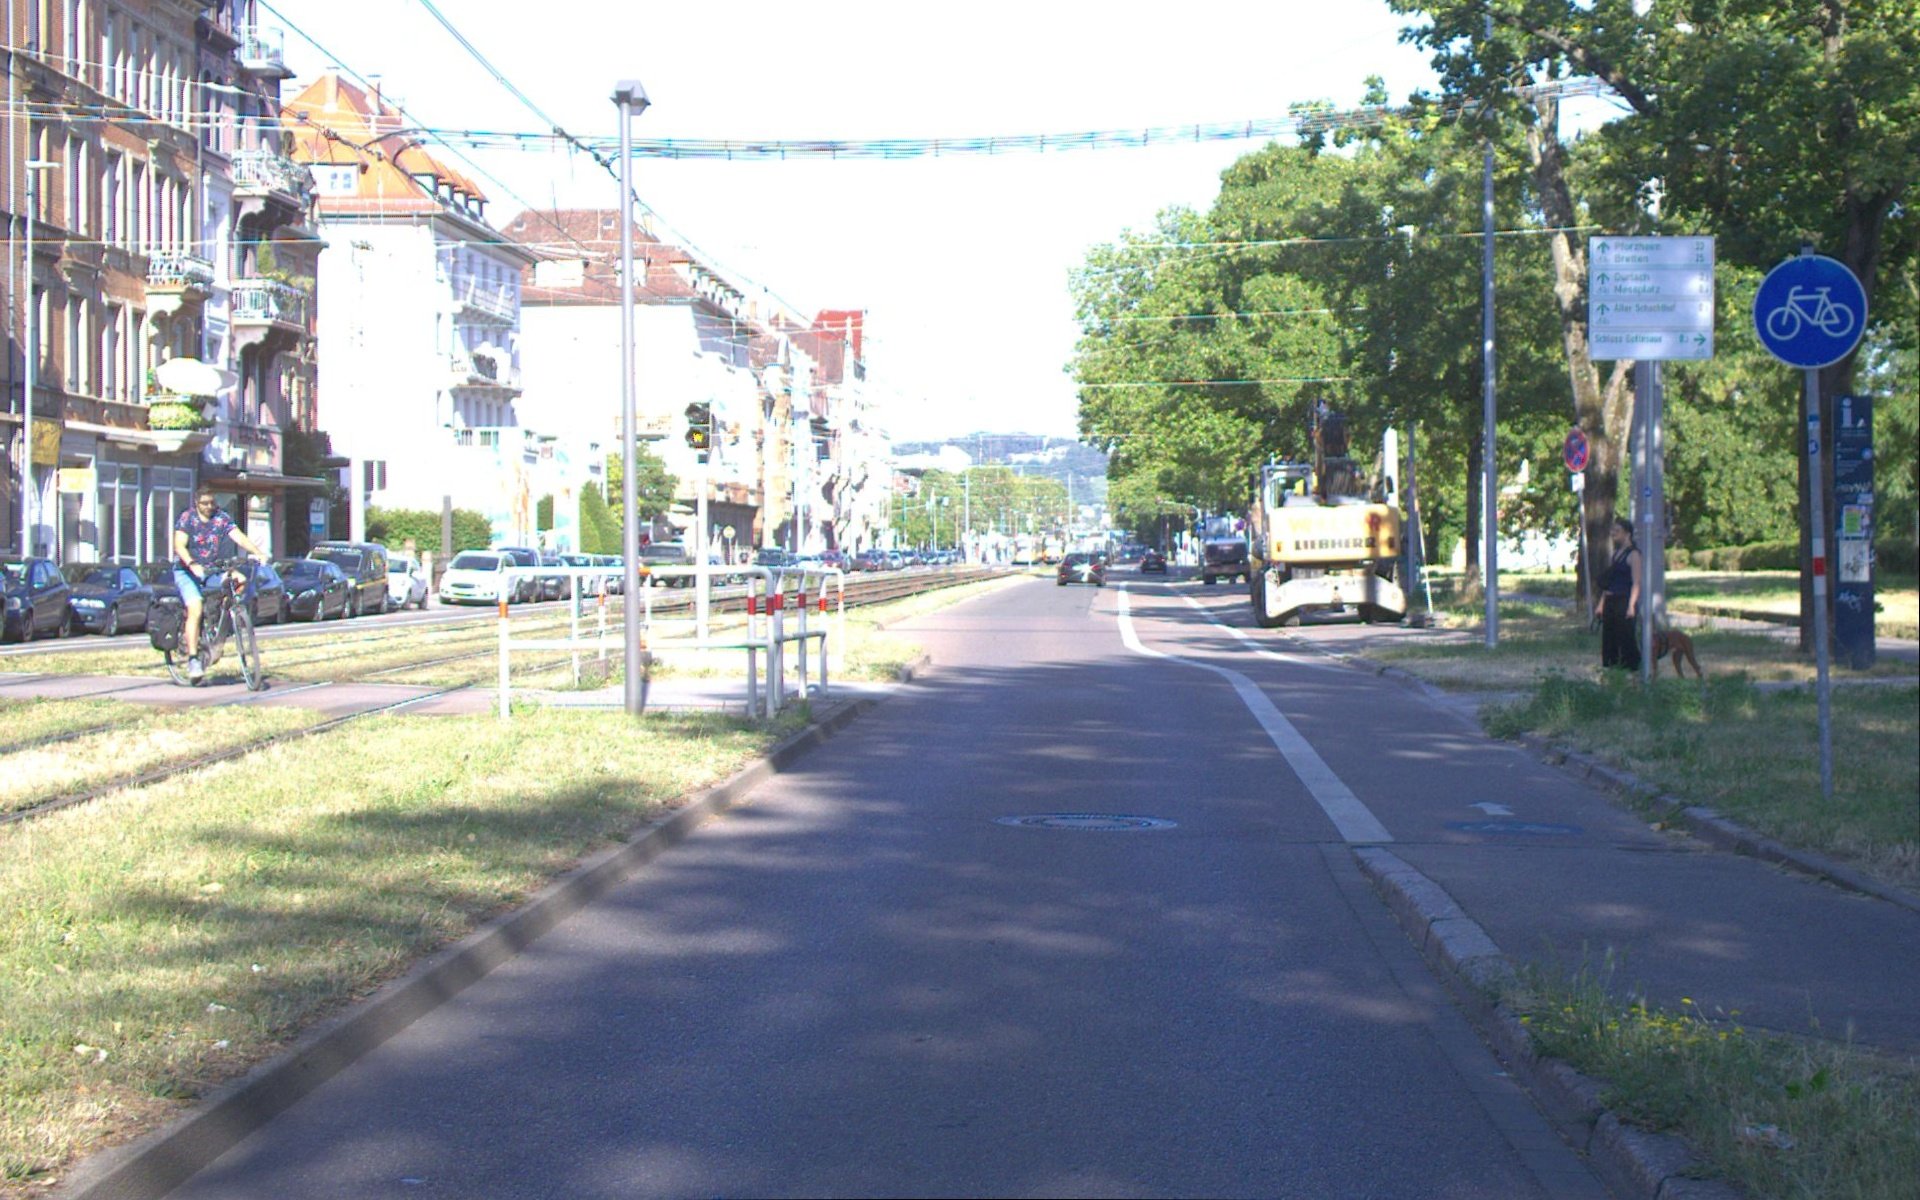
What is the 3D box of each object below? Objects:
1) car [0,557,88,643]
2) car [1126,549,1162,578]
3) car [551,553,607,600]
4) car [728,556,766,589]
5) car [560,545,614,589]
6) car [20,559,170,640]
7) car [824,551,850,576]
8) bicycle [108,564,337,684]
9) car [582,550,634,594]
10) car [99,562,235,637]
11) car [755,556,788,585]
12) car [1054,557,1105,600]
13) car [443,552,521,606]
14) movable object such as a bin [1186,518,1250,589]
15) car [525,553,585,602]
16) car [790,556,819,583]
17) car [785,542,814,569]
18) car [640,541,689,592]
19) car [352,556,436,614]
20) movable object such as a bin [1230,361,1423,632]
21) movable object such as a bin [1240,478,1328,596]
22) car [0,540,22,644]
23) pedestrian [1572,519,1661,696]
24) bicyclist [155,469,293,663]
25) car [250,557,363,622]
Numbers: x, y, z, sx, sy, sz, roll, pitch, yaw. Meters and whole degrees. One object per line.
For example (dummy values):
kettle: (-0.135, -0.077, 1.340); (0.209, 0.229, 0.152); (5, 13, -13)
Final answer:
car: (-17.191, -0.027, 62.217); (1.775, 1.461, 3.531); (2, 1, 2)
car: (12.667, -2.524, 236.853); (1.993, 1.853, 4.001); (2, 1, -4)
car: (-13.778, -0.868, 124.491); (1.527, 1.555, 3.223); (2, 2, 2)
car: (-10.742, -1.394, 173.347); (1.527, 1.555, 3.223); (2, 2, 2)
car: (-13.916, -1.239, 128.448); (1.527, 1.555, 3.223); (2, 2, 2)
car: (-16.855, -0.036, 67.171); (1.776, 1.401, 3.909); (2, 2, 2)
car: (-8.538, -2.539, 239.134); (1.527, 1.605, 3.223); (2, 2, 2)
bicycle: (-6.626, 0.204, 30.879); (1.956, 1.037, 0.765); (0, 1, 26)
car: (-13.634, -1.098, 133.390); (1.527, 1.555, 3.223); (2, 2, 2)
car: (-16.584, -0.032, 72.057); (1.776, 1.401, 3.909); (2, 2, 2)
car: (-10.752, -1.694, 196.166); (1.527, 1.555, 3.223); (2, 2, 2)
car: (4.919, -0.886, 140.926); (1.994, 1.678, 4.000); (2, 1, 3)
car: (-14.958, -0.668, 107.694); (1.741, 1.555, 3.767); (2, 2, 2)
movable object such as a bin: (11.074, -2.006, 147.732); (2.467, 2.896, 4.000); (-3, 0, 2)
car: (-13.892, -0.797, 117.953); (1.527, 1.555, 3.223); (2, 2, 2)
car: (-9.620, -1.888, 213.059); (1.527, 1.555, 3.223); (2, 2, 2)
car: (-10.358, -2.894, 221.952); (1.527, 1.605, 3.223); (2, 2, 2)
car: (-13.111, -1.508, 152.676); (1.658, 2.132, 3.525); (2, 2, 2)
car: (-15.604, -0.438, 94.867); (1.562, 1.452, 3.665); (2, 2, 2)
movable object such as a bin: (7.381, -2.039, 70.440); (3.087, 5.071, 8.891); (-3, 1, 2)
movable object such as a bin: (8.693, -1.667, 92.536); (1.968, 3.003, 4.796); (-3, 0, 2)
car: (-17.407, -0.124, 57.457); (2.015, 1.748, 4.558); (2, 2, 2)
pedestrian: (6.273, 0.068, 32.873); (0.660, 1.641, 0.862); (-2, 0, 3)
bicyclist: (-6.604, -0.312, 30.850); (0.920, 1.709, 0.765); (0, 1, 26)
car: (-15.627, -0.277, 82.350); (1.776, 1.401, 3.979); (2, 2, 2)
